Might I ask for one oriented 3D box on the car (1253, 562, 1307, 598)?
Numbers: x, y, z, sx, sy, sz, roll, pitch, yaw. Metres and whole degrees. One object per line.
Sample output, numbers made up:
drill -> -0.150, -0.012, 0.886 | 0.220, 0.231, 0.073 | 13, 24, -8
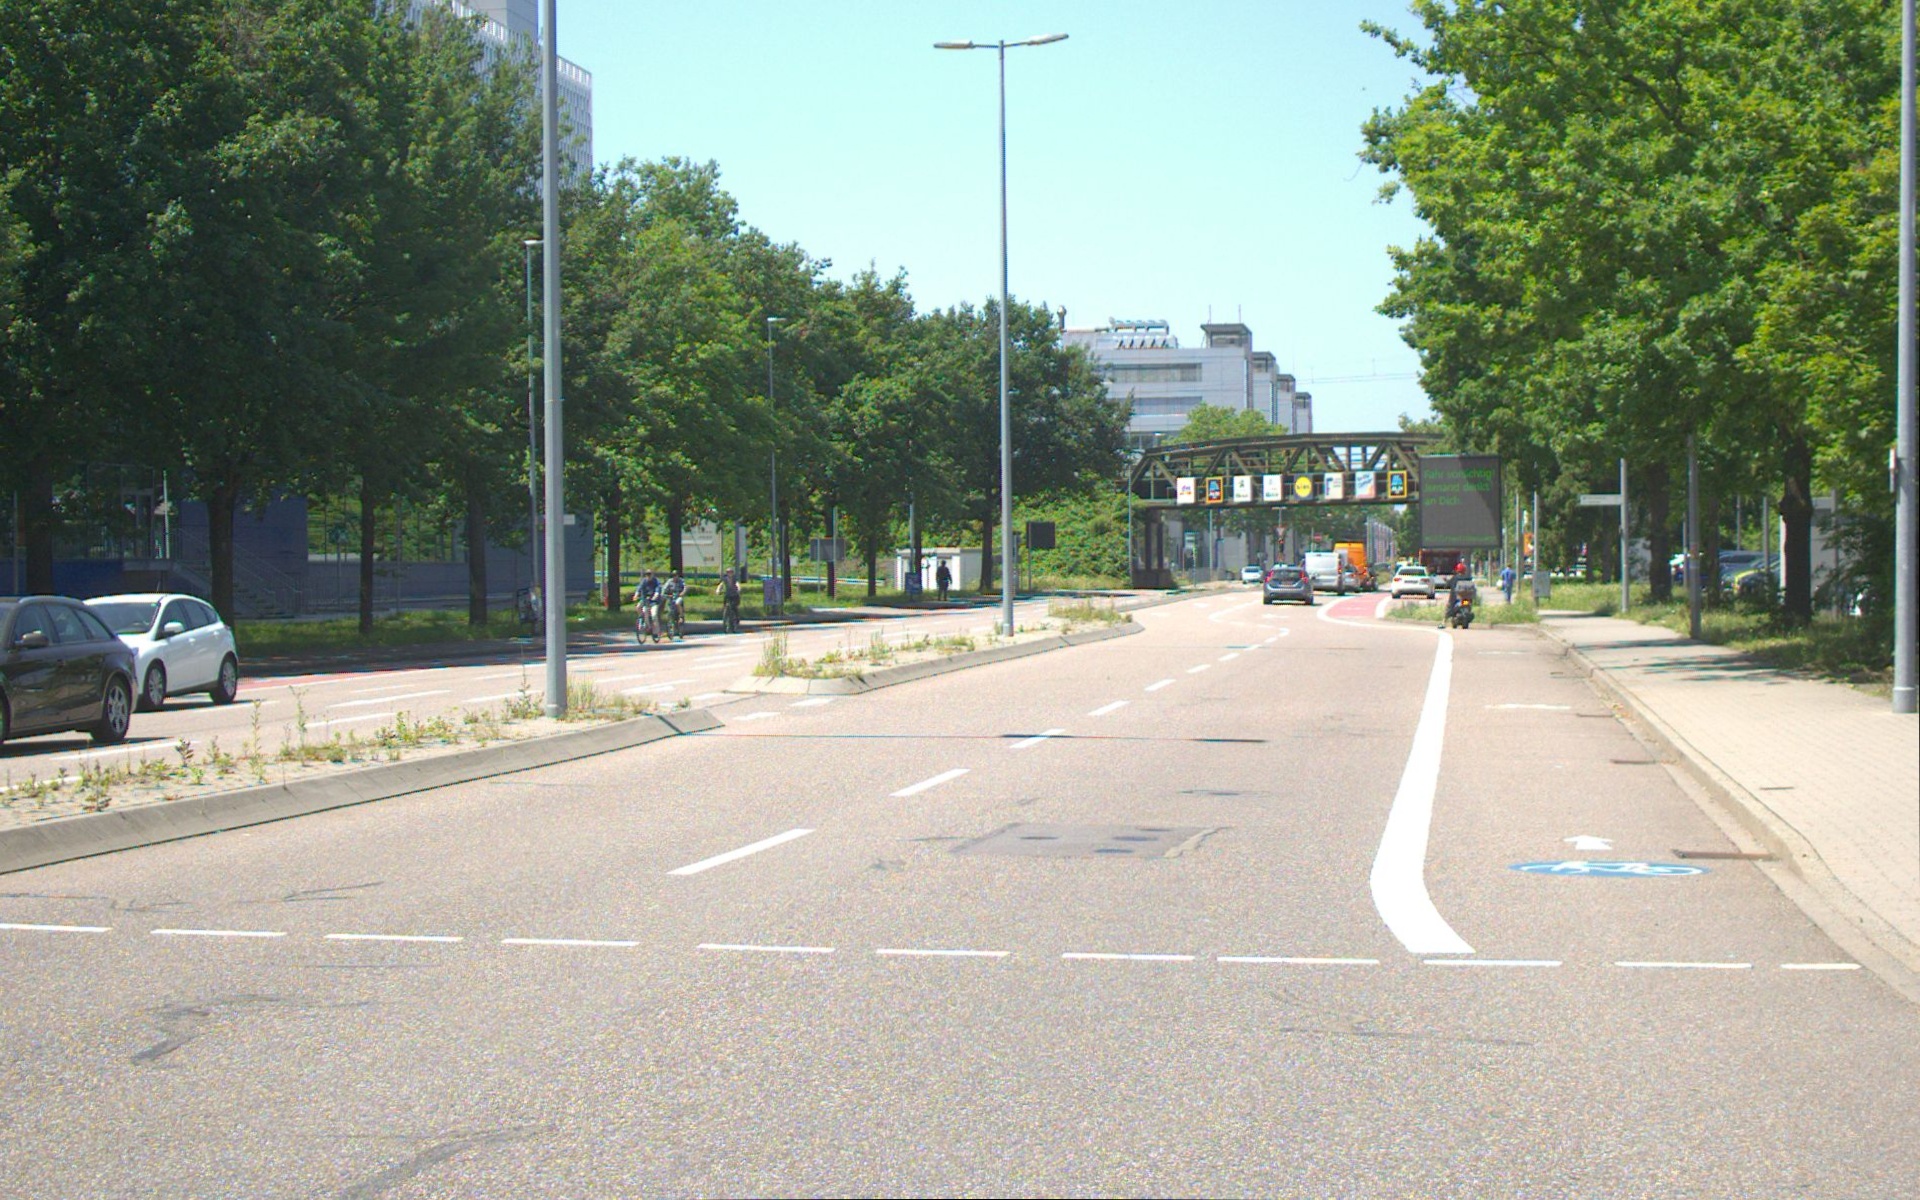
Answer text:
car -> 12.365, -0.785, 132.691 | 1.901, 1.371, 4.230 | 0, 1, 7

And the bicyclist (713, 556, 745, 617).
bicyclist -> -6.294, -0.370, 93.673 | 0.634, 1.623, 1.044 | -2, 0, 7

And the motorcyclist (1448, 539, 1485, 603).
motorcyclist -> 12.170, -0.704, 82.639 | 0.719, 1.524, 0.871 | 1, 0, -1

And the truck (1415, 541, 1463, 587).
truck -> 26.228, -1.981, 188.129 | 2.459, 2.402, 7.131 | 2, 1, 8

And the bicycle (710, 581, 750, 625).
bicycle -> -6.268, 0.075, 93.739 | 0.629, 1.155, 2.117 | -2, 0, 7

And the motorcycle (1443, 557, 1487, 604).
motorcycle -> 12.140, -0.480, 82.657 | 0.716, 1.101, 1.830 | 1, 1, -2

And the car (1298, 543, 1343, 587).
car -> 16.764, -1.621, 159.689 | 1.994, 2.007, 3.999 | 0, 1, 7

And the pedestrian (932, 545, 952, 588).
pedestrian -> -0.781, -1.475, 149.795 | 0.744, 1.878, 0.577 | 0, 0, 9

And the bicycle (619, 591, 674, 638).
bicycle -> -7.757, 0.349, 85.134 | 0.739, 1.121, 2.433 | 0, 1, 10

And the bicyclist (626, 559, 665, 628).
bicyclist -> -7.772, -0.166, 85.029 | 0.745, 1.680, 0.952 | 0, 1, 10

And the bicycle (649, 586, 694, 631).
bicycle -> -7.459, 0.215, 88.971 | 0.637, 1.130, 1.969 | 0, 1, 12

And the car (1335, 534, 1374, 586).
car -> 22.146, -2.231, 192.935 | 2.073, 2.845, 6.763 | 0, 1, 7

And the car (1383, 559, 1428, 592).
car -> 19.607, -1.077, 151.258 | 1.924, 1.415, 3.999 | 0, 1, 7

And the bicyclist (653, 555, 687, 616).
bicyclist -> -7.489, -0.379, 88.861 | 0.637, 1.577, 0.884 | 0, 0, 11

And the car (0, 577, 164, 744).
car -> -8.979, 0.547, 30.944 | 1.727, 1.441, 4.717 | -2, 0, 11

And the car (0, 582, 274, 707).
car -> -10.384, 0.526, 43.543 | 1.727, 1.441, 4.450 | -2, 0, 11
